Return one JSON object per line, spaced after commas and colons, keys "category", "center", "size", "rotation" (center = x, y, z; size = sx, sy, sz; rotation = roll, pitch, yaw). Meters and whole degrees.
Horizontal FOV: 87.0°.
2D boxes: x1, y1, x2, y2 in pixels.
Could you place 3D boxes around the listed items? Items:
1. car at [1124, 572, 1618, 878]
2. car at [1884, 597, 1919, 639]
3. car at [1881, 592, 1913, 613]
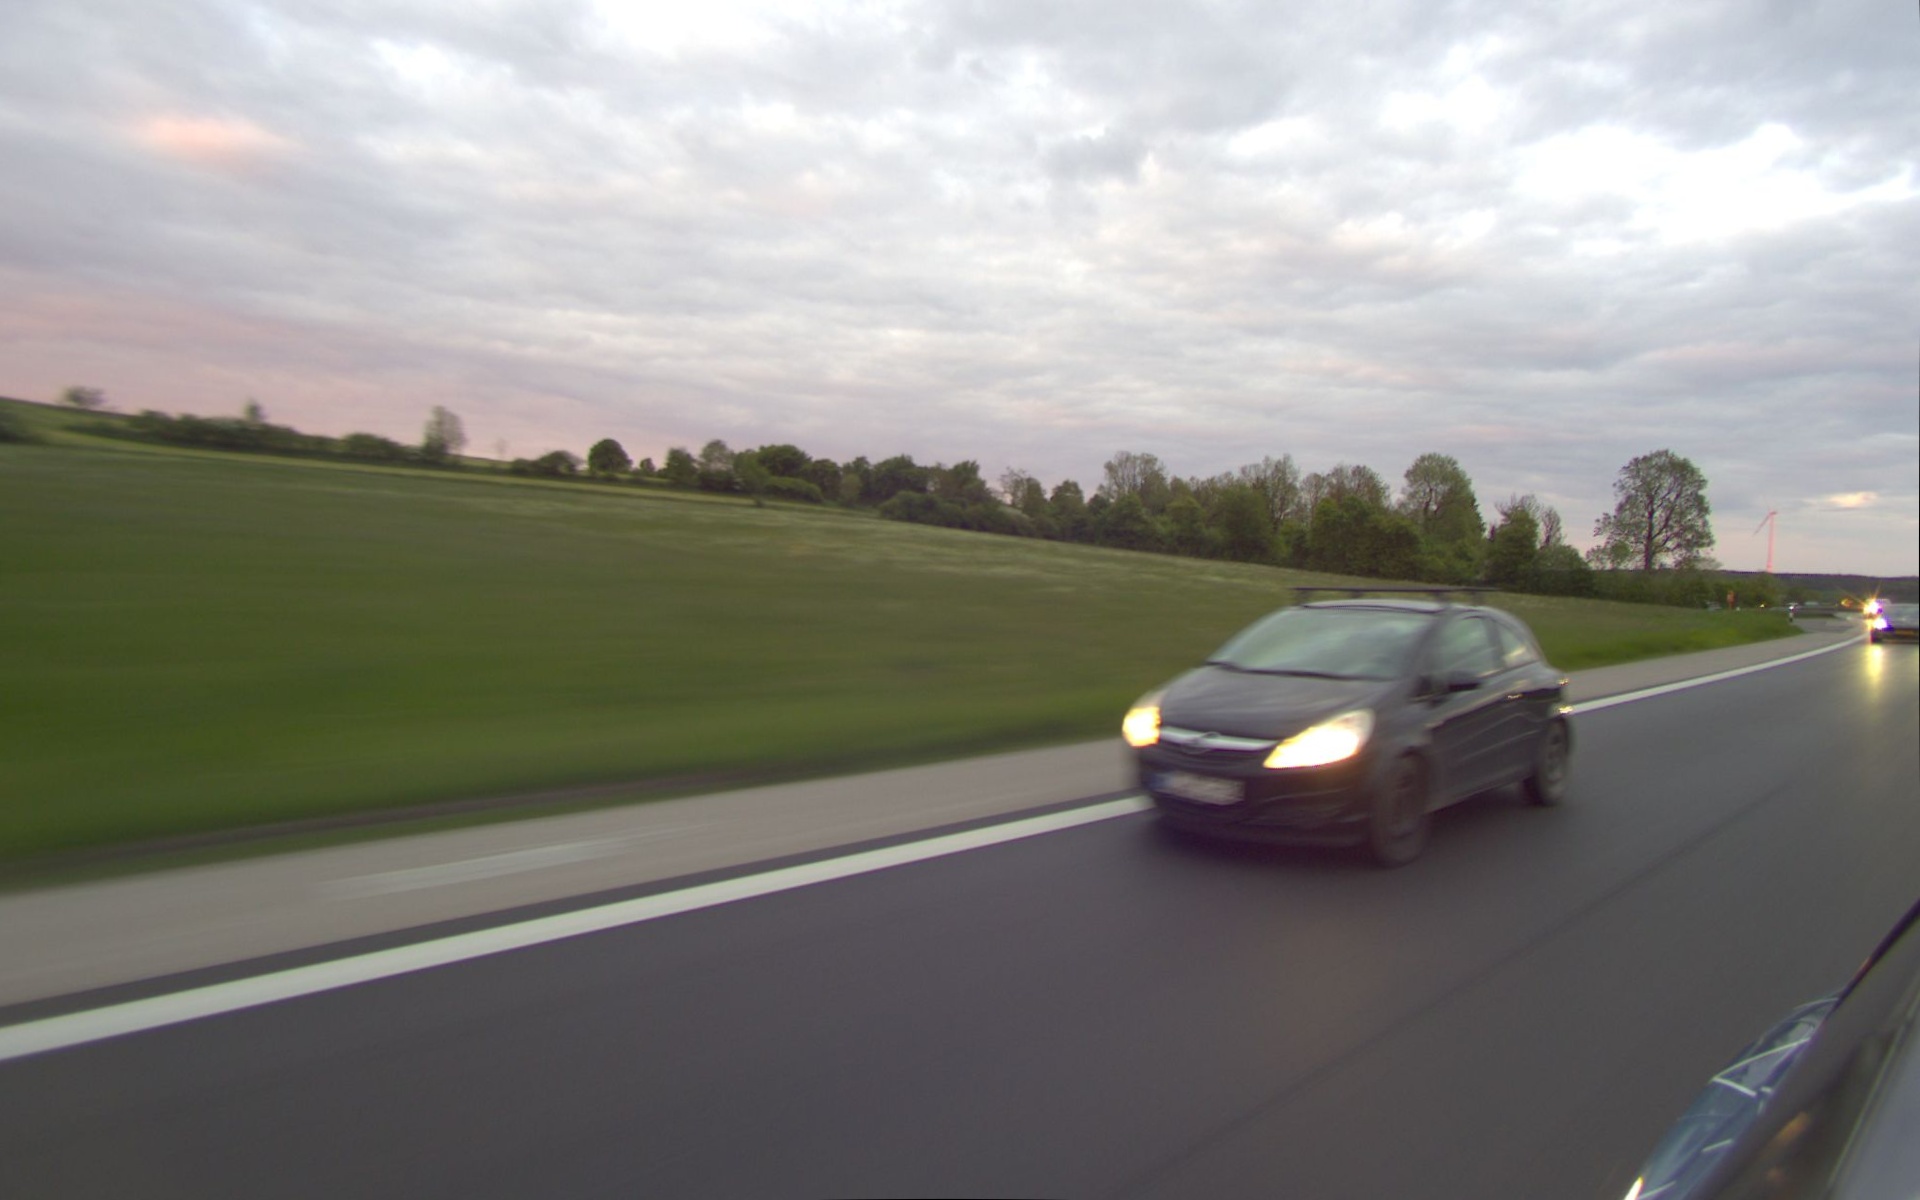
{"category": "car", "center": [3.032, 0.610, 7.035], "size": [3.932, 1.532, 1.679], "rotation": [0, 1, -43]}
{"category": "car", "center": [35.109, 0.642, 36.821], "size": [3.933, 1.413, 1.882], "rotation": [0, 3, -44]}
{"category": "car", "center": [89.418, 0.258, 96.595], "size": [1.912, 1.860, 3.944], "rotation": [3, 2, 39]}
